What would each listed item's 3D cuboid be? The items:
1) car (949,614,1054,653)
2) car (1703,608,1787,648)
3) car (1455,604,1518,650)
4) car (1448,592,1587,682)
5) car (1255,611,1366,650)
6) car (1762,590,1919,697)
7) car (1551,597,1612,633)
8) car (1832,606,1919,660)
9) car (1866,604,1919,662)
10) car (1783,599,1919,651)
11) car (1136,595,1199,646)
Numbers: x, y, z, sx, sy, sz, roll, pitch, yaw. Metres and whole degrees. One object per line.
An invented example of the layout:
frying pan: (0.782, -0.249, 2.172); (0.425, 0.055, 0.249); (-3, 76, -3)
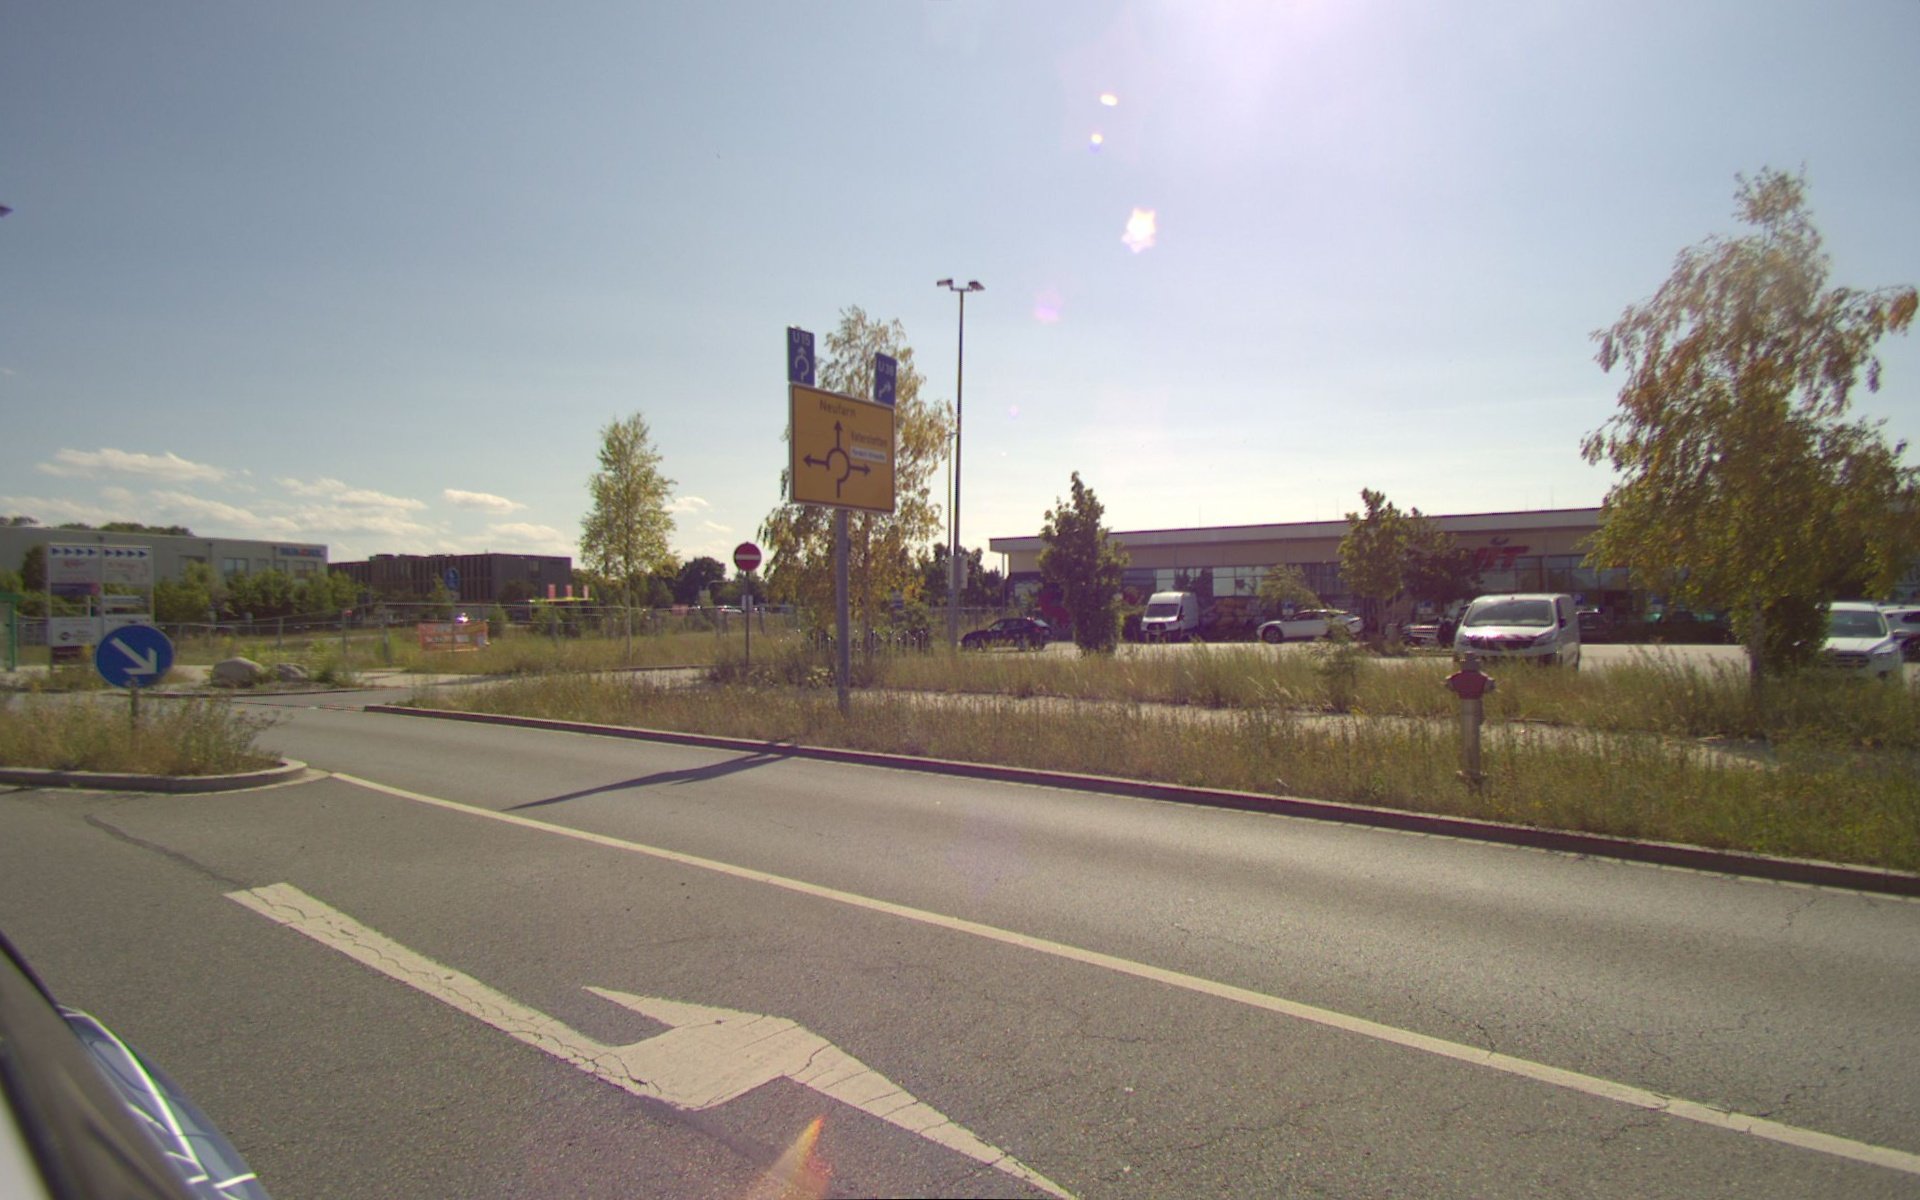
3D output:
car: (1.958, 1.538, 47.188); (4.393, 1.701, 2.265); (-1, 0, 24)
car: (32.694, 1.136, 42.278); (1.706, 1.556, 4.320); (-1, -1, 23)
car: (18.794, 0.925, 36.020); (1.837, 1.564, 3.960); (-1, -1, 30)
car: (11.937, 0.711, 21.476); (1.996, 1.685, 5.135); (-1, -1, 35)
car: (16.065, 1.359, 46.434); (4.556, 1.701, 1.956); (-1, -1, 29)
car: (15.818, 0.702, 18.194); (1.999, 1.685, 4.542); (-1, -1, 41)
car: (27.792, 0.670, 45.360); (1.706, 1.531, 4.320); (-1, -1, 23)
car: (28.056, 0.934, 29.102); (4.222, 1.527, 1.700); (-1, -1, 29)
car: (26.920, 0.841, 26.669); (4.222, 1.527, 1.700); (-1, -1, 29)
car: (29.215, 0.793, 32.254); (4.336, 1.599, 1.700); (-1, -1, 29)
car: (11.233, 1.081, 54.383); (1.930, 2.607, 5.667); (-1, -1, 26)
